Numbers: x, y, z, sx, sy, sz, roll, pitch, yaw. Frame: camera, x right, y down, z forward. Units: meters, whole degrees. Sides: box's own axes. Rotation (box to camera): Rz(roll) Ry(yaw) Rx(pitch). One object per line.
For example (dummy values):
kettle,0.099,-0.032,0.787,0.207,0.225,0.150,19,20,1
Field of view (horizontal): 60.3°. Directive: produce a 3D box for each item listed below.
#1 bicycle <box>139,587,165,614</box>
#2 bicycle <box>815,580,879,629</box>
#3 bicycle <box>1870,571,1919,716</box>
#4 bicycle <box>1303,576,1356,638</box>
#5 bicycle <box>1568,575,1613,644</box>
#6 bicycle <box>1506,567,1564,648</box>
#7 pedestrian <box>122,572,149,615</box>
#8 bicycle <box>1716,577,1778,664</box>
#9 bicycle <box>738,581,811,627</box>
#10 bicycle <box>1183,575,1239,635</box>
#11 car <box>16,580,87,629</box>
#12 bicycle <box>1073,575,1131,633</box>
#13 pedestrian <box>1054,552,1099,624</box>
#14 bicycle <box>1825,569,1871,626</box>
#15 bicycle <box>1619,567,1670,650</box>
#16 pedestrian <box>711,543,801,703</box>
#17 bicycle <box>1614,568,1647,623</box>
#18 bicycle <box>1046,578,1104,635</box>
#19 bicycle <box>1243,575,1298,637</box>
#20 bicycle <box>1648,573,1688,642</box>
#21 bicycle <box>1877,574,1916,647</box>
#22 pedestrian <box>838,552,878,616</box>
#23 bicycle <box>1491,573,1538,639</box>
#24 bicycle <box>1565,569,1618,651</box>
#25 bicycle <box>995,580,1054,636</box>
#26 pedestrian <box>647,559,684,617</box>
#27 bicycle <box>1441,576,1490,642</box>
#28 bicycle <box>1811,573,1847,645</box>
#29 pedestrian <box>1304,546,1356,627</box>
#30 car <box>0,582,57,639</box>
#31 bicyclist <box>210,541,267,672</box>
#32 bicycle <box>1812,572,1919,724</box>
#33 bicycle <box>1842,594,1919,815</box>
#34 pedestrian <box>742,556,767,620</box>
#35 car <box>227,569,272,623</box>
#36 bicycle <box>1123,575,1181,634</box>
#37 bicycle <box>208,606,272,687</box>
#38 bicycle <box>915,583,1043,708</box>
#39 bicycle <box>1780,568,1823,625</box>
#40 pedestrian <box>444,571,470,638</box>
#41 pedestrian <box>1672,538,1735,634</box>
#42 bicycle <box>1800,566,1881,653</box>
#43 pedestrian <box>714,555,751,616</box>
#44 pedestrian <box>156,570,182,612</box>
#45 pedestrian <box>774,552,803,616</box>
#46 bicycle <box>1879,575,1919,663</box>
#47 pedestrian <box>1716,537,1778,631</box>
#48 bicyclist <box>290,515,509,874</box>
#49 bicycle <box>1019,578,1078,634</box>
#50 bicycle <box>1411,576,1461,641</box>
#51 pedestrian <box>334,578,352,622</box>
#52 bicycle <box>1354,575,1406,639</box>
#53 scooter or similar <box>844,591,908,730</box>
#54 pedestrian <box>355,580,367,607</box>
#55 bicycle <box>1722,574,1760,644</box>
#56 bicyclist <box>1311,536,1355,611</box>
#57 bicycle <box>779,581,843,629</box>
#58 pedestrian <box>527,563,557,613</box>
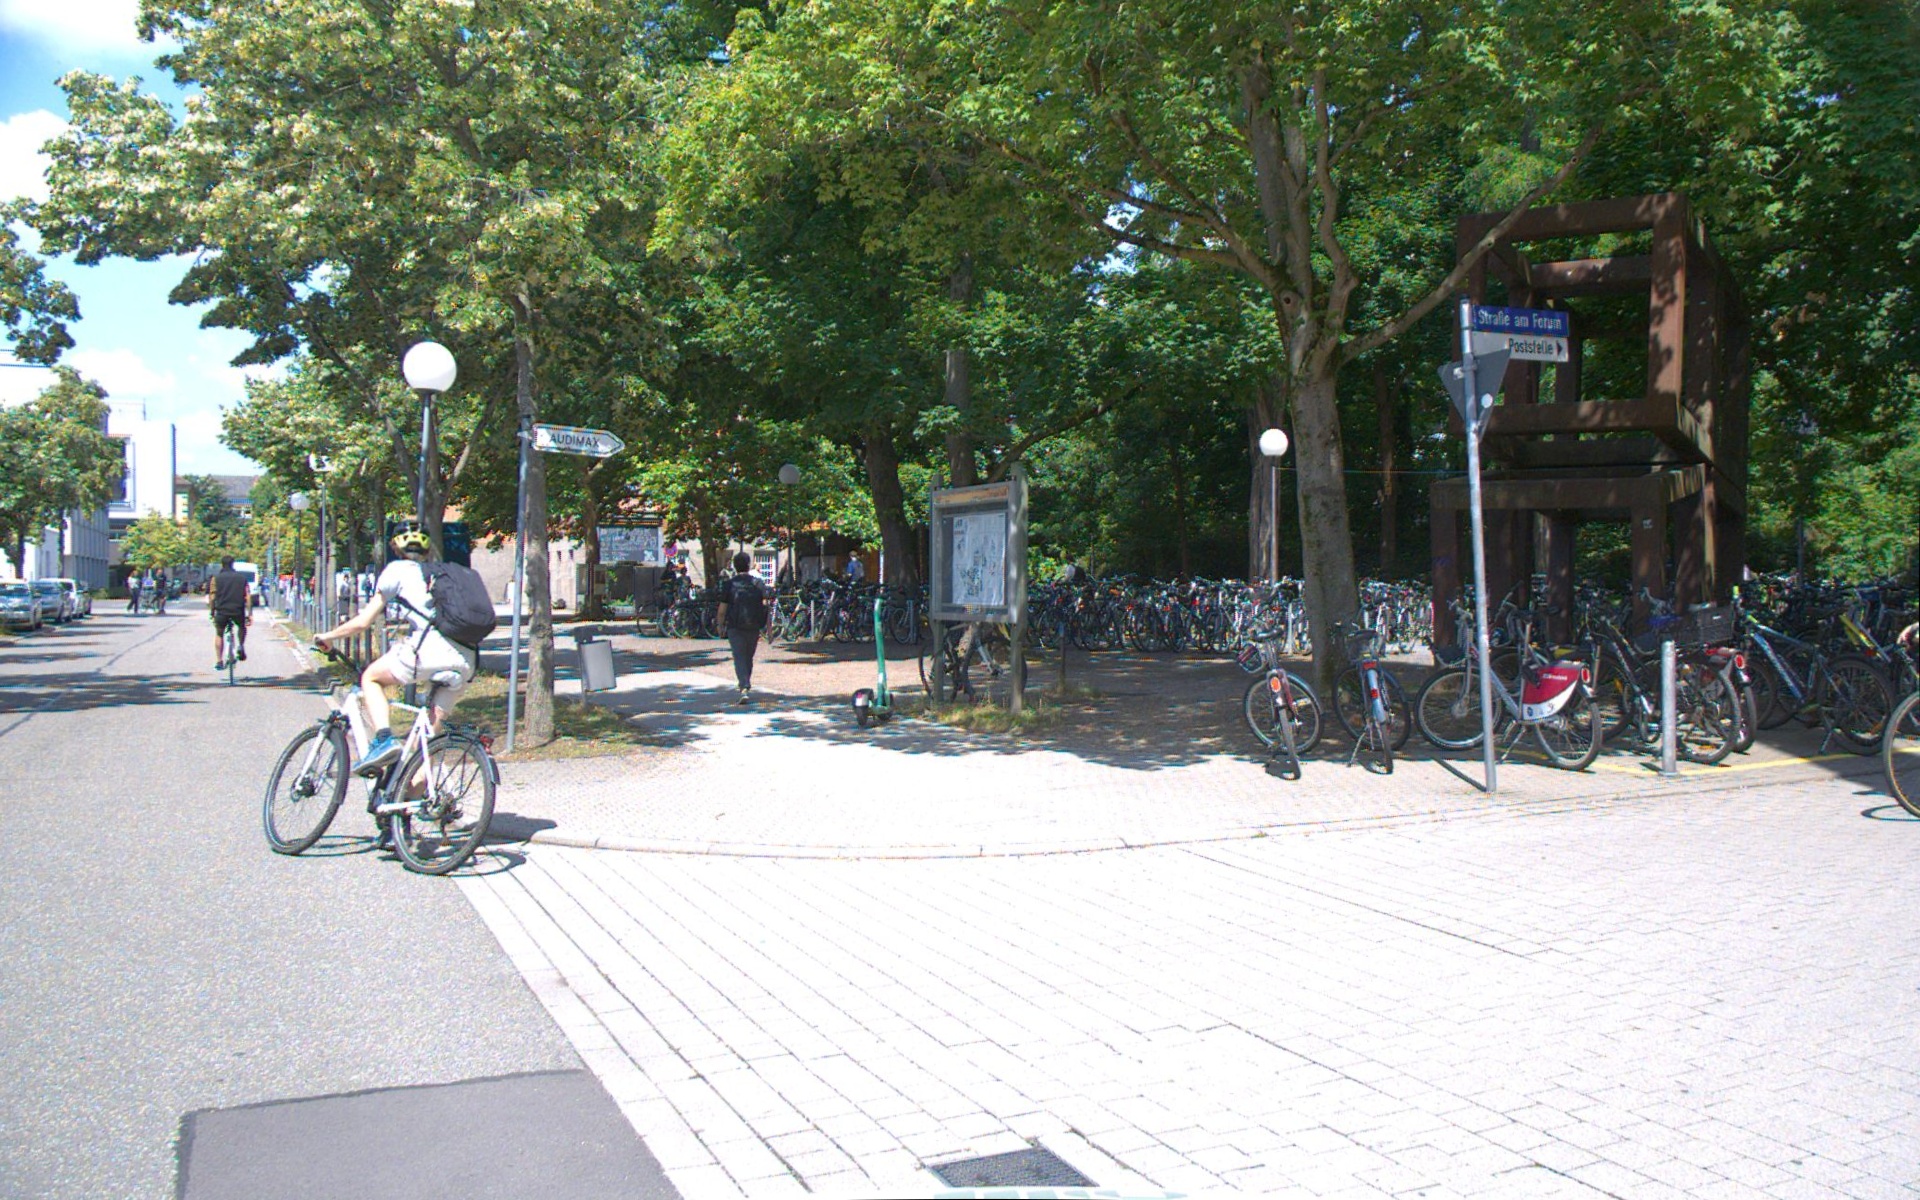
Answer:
bicycle,-34.954,0.029,71.563,1.670,1.102,0.471,2,2,44
bicycle,-2.656,0.089,39.060,0.464,1.102,1.853,1,2,34
bicycle,7.888,0.355,12.742,0.488,1.127,1.621,0,1,-19
bicycle,6.830,0.115,30.503,0.463,1.102,1.856,1,1,28
bicycle,10.641,0.146,27.875,0.463,1.102,1.856,1,1,28
bicycle,8.334,0.088,23.950,0.491,1.127,1.904,1,1,28
pedestrian,-35.358,-0.285,70.921,0.891,1.805,0.765,1,2,43
bicycle,10.888,0.261,22.914,0.490,1.127,1.701,1,1,16
bicycle,-4.534,0.092,40.418,1.842,1.102,0.467,-1,2,-41
bicycle,4.796,0.078,31.534,0.463,1.102,1.856,1,1,28
car,-30.812,0.128,56.191,1.810,1.568,4.502,-1,1,-25
bicycle,2.864,0.064,33.295,0.463,1.102,1.856,1,1,28
pedestrian,2.970,-0.327,42.179,0.763,1.805,0.893,-1,2,-42
bicycle,18.318,-0.074,34.147,0.505,1.129,1.779,1,1,18
bicycle,9.738,0.103,23.512,0.491,1.127,1.777,1,1,28
pedestrian,-2.254,0.237,18.202,0.717,1.713,0.866,-1,1,-27
bicycle,14.280,-0.110,35.267,0.505,1.129,1.779,1,1,18
bicycle,2.354,0.118,33.700,0.463,1.102,1.856,1,1,28
bicycle,5.810,0.100,30.918,0.463,1.102,1.856,1,1,28
bicycle,11.795,0.108,27.539,0.463,1.102,1.697,1,1,28
bicycle,14.815,0.146,26.178,0.463,1.102,1.697,1,1,28
pedestrian,-2.965,-0.476,48.051,0.763,1.833,0.893,-1,2,-42
bicycle,9.560,0.085,28.482,0.463,1.102,1.856,1,1,28
bicycle,9.129,0.121,23.876,0.491,1.127,1.777,1,1,28
bicycle,1.351,0.144,34.228,0.463,1.102,1.856,1,1,28
pedestrian,-9.274,-0.374,52.105,0.912,1.805,0.774,-1,2,-42
bicycle,8.860,0.138,28.969,0.463,1.102,1.856,1,1,28
bicycle,13.851,0.130,26.358,0.463,1.102,1.697,1,1,28
pedestrian,8.354,-0.311,37.382,0.757,1.805,0.901,0,1,-24
car,-27.442,0.261,48.076,1.810,1.568,4.502,-1,1,-25
bicyclist,-10.774,0.084,24.692,0.661,1.907,0.819,-2,1,-29
bicycle,7.354,0.362,12.622,0.496,1.127,1.621,0,1,-19
bicycle,5.820,0.538,8.924,1.776,1.127,0.641,0,2,-1
pedestrian,-5.801,-0.348,46.735,0.496,1.802,0.664,0,1,-29
car,-41.418,-0.216,96.390,2.233,3.067,5.694,1,-1,-25
bicycle,3.767,0.067,32.304,0.463,1.102,1.856,1,1,28
bicycle,-10.772,0.664,24.696,0.661,1.127,2.052,-2,1,-29
bicycle,0.159,0.416,16.312,0.388,1.127,1.821,0,2,-30
bicycle,17.440,-0.083,34.294,0.505,1.129,1.779,1,1,18
pedestrian,-11.848,0.104,38.975,0.559,1.546,0.837,0,1,-15
pedestrian,14.309,-0.277,31.822,0.891,1.805,0.765,1,2,43
bicycle,11.950,0.105,22.492,0.616,1.127,1.701,1,1,16
pedestrian,-6.829,-0.448,49.641,0.763,1.805,0.893,-1,2,-42
pedestrian,-34.371,-0.412,71.880,0.891,1.805,0.765,1,2,43
pedestrian,-4.865,-0.454,47.007,0.601,1.805,0.652,-1,1,-32
bicycle,12.869,0.233,22.251,0.490,1.127,1.701,1,1,16
pedestrian,15.496,-0.324,32.553,0.892,1.805,0.765,1,2,44
bicyclist,-2.987,0.484,8.847,0.877,1.833,0.605,-1,1,16
bicycle,1.831,0.113,33.873,0.463,1.102,1.856,1,1,28
bicycle,8.429,0.130,29.259,0.463,1.102,1.856,1,1,28
pedestrian,-22.167,-0.007,59.397,0.611,1.546,0.731,0,1,-22
bicycle,7.607,0.116,29.911,0.463,1.102,1.856,1,1,28
scooter or similar,-0.763,0.532,15.175,0.285,1.215,1.186,-1,1,11
pedestrian,-35.528,-0.376,98.124,0.563,1.546,0.833,0,1,-29
bicycle,12.947,0.131,27.408,0.463,1.102,1.697,1,1,28
bicyclist,8.007,-0.574,35.482,0.709,1.595,0.592,2,2,44
bicycle,-3.582,0.100,39.816,0.464,1.102,1.853,1,2,34
pedestrian,-15.361,-0.448,60.799,0.763,1.805,0.893,-1,2,-42
